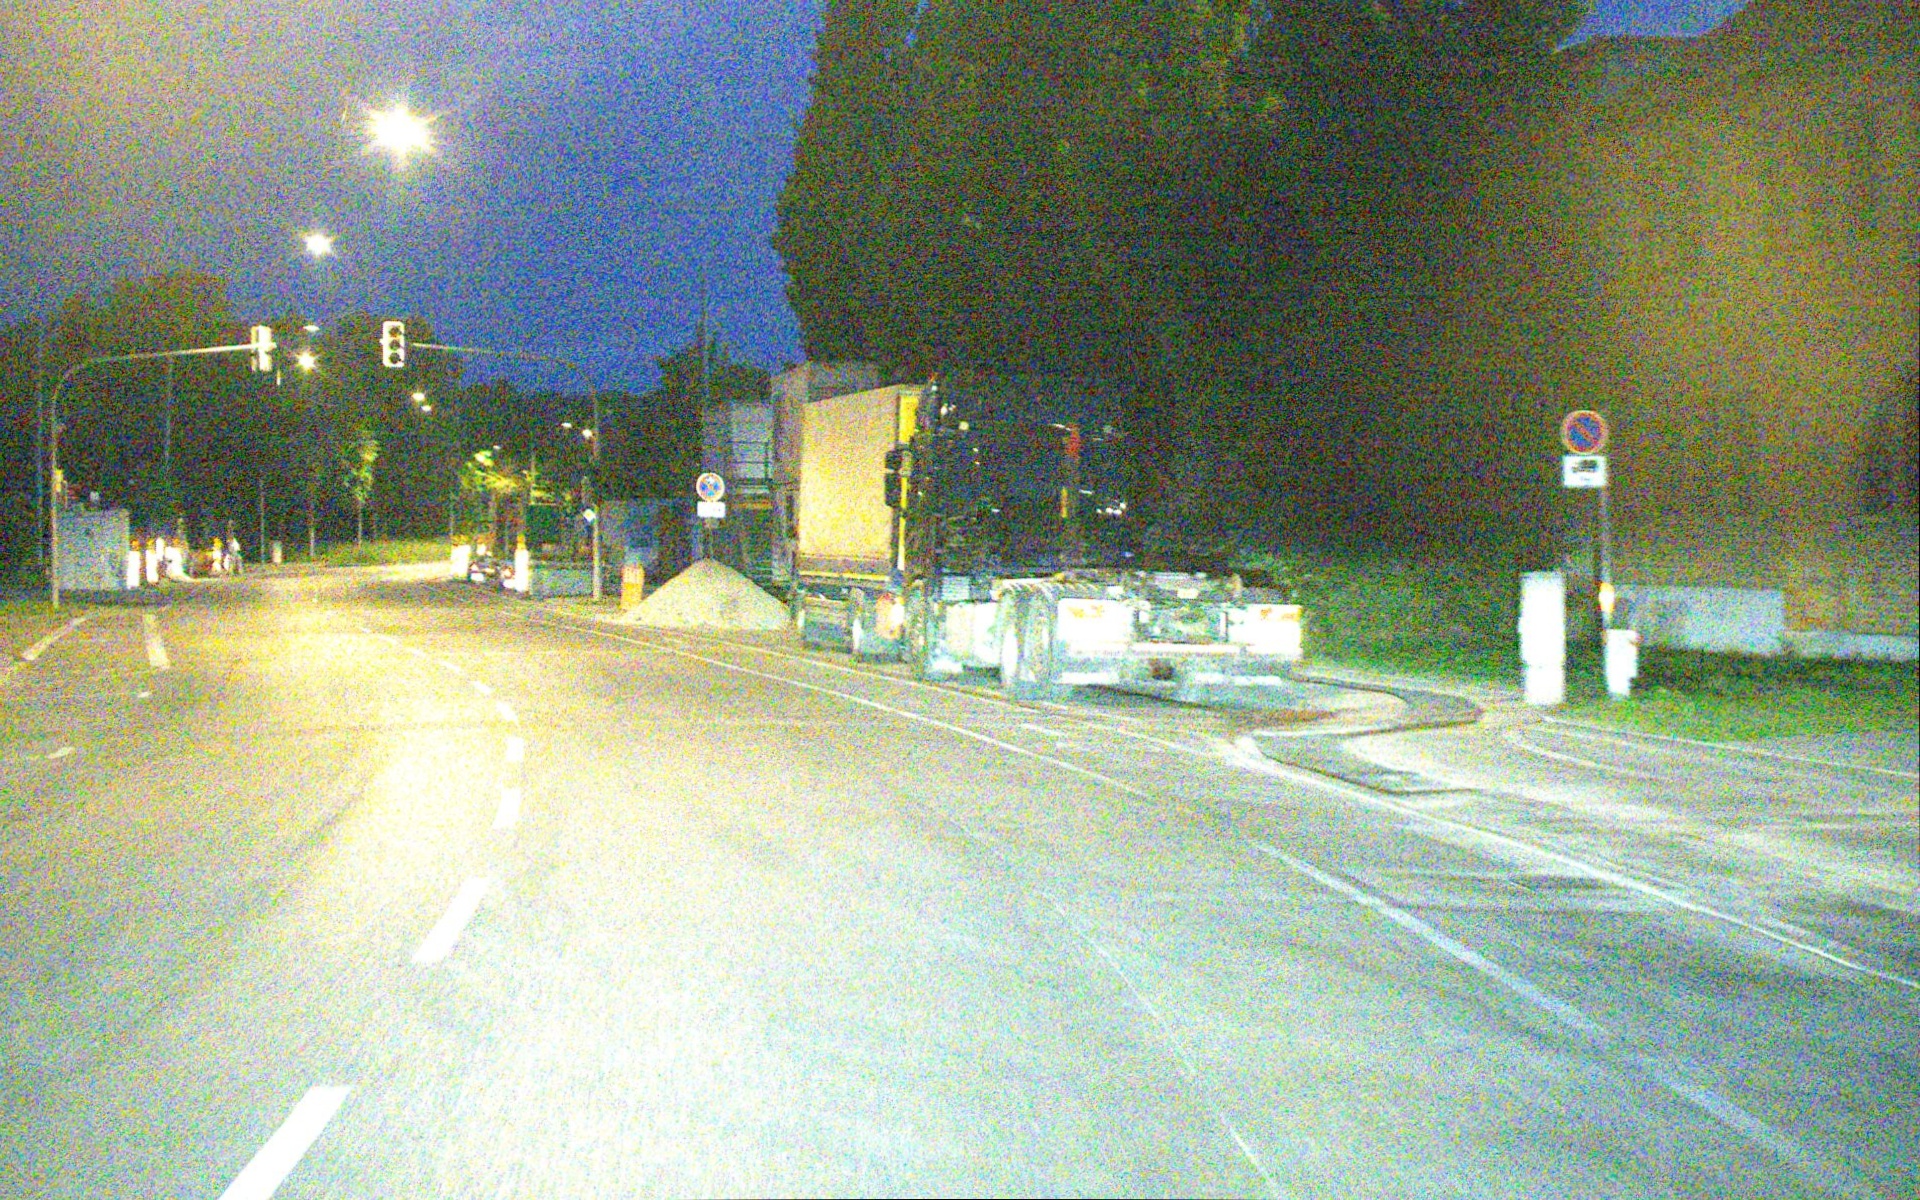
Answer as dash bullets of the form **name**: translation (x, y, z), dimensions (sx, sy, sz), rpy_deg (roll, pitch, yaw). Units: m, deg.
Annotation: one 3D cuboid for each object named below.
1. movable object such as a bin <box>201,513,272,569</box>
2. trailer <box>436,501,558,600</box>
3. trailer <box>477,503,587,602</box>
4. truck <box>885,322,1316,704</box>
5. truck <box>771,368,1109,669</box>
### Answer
- **movable object such as a bin**: translation (-31.548, -2.572, 149.996), dimensions (1.993, 2.368, 4.702), rpy_deg (-1, 1, 1)
- **trailer**: translation (-15.754, -1.658, 116.777), dimensions (3.480, 3.208, 4.866), rpy_deg (1, 0, -15)
- **trailer**: translation (-12.760, -1.399, 102.273), dimensions (2.612, 2.836, 4.710), rpy_deg (1, 0, -15)
- **truck**: translation (1.317, -0.935, 38.667), dimensions (2.754, 3.770, 9.140), rpy_deg (-1, 1, -11)
- **truck**: translation (-0.513, -1.102, 48.349), dimensions (2.754, 3.770, 10.228), rpy_deg (-1, 1, -12)
